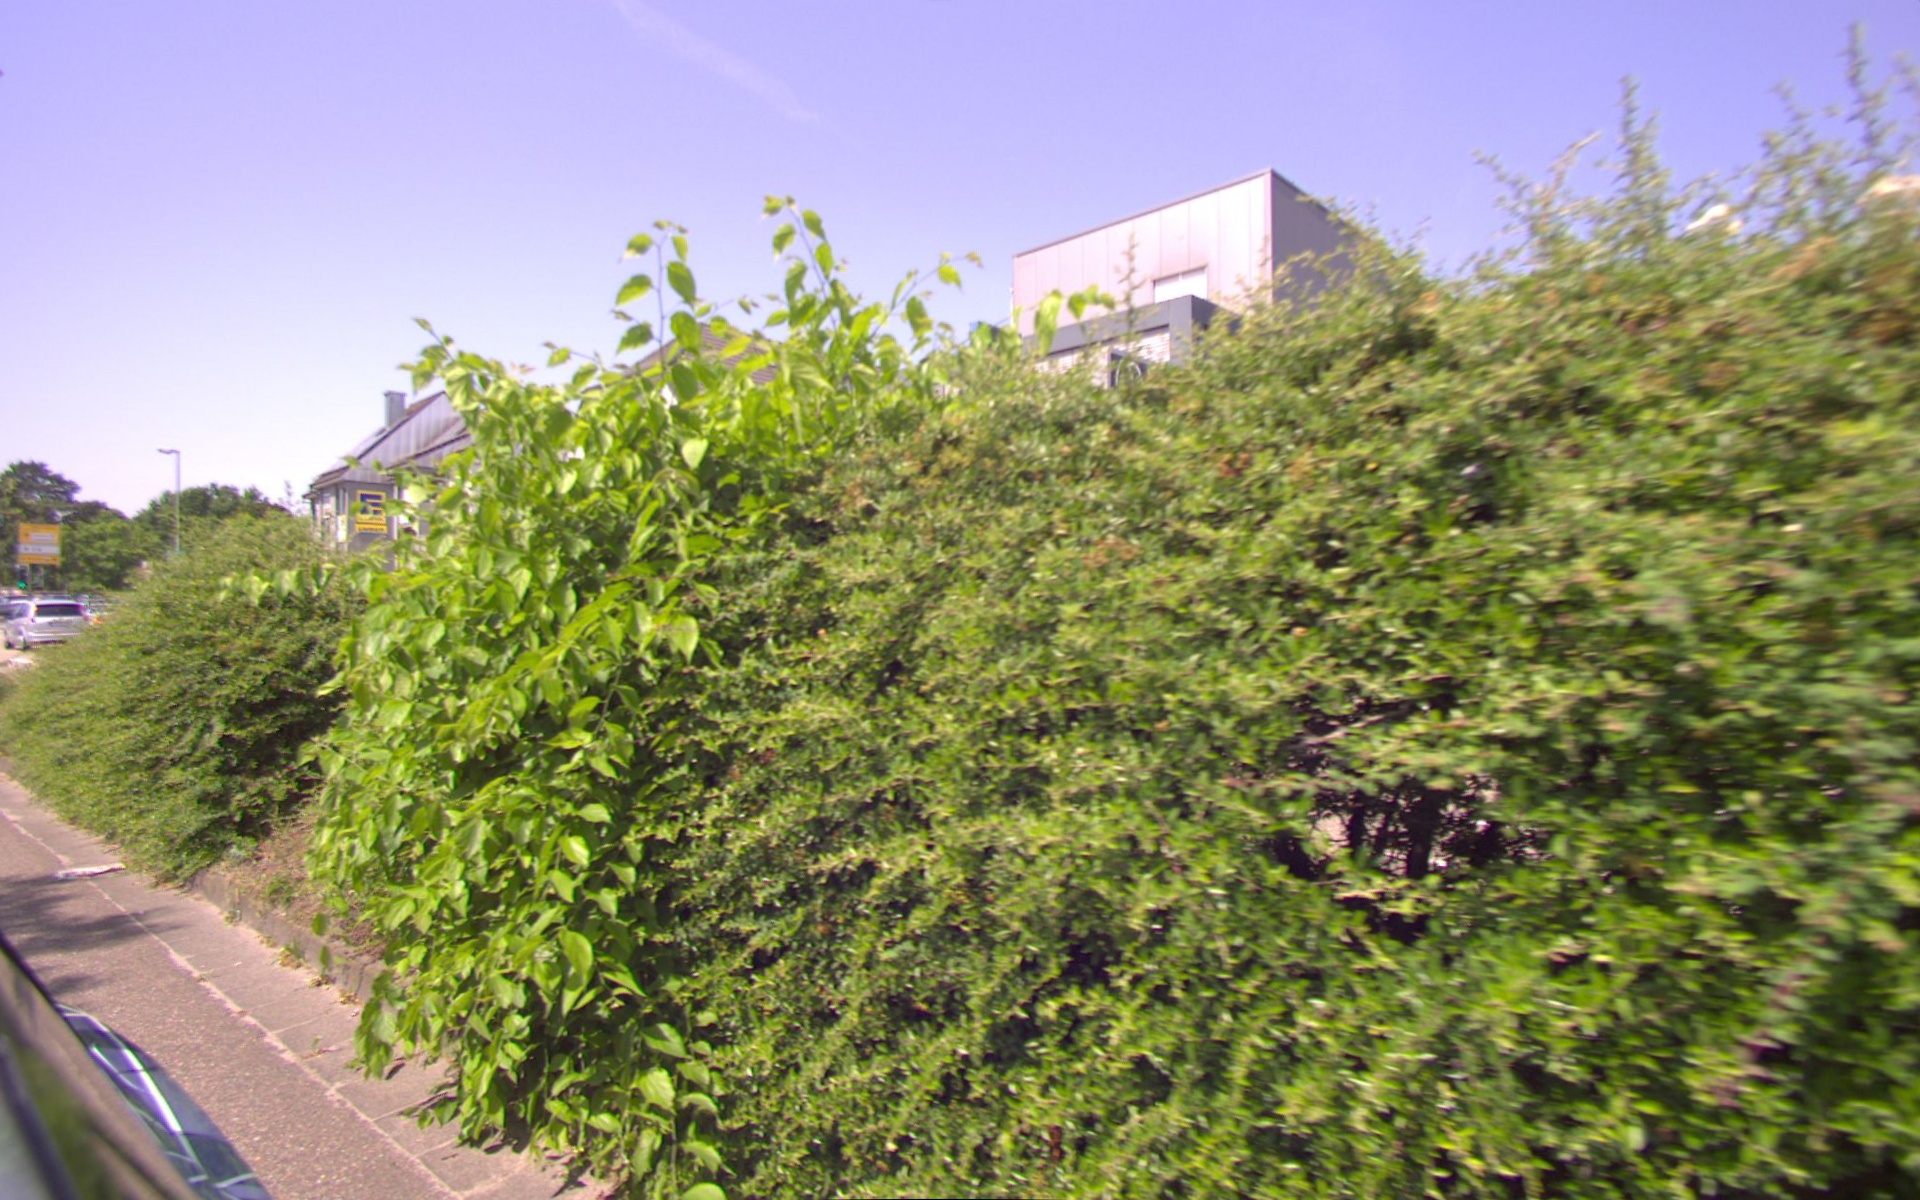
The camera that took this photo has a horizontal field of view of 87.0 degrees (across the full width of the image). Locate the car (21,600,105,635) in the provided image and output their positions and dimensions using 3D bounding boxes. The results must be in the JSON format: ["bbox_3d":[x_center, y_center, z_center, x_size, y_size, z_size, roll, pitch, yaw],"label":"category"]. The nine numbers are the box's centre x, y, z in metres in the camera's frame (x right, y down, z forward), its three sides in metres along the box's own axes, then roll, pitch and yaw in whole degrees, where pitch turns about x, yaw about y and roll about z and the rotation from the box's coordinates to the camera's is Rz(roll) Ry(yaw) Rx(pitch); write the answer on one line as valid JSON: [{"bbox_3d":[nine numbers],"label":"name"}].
[{"bbox_3d":[-40.027,0.767,45.143,4.346,1.364,1.790,0,4,35],"label":"car"}]

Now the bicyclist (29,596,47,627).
[{"bbox_3d":[-52.305,0.633,57.409,0.815,1.654,0.420,6,3,20],"label":"bicyclist"}]

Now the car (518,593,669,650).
[{"bbox_3d":[-12.177,0.668,33.933,1.748,1.507,4.569,-1,3,34],"label":"car"}]

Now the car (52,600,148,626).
[{"bbox_3d":[-58.816,0.843,69.279,1.755,1.622,4.716,0,1,29],"label":"car"}]

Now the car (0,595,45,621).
[{"bbox_3d":[-72.273,0.580,76.486,4.235,1.916,1.835,1,0,-30],"label":"car"}]

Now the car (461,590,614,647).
[{"bbox_3d":[-14.743,0.599,35.500,1.853,1.639,4.558,-1,3,41],"label":"car"}]

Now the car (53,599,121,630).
[{"bbox_3d":[-46.977,0.725,54.456,4.189,1.578,1.880,0,1,36],"label":"car"}]

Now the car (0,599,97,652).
[{"bbox_3d":[-29.947,0.854,33.148,4.334,1.641,1.763,-2,-2,39],"label":"car"}]

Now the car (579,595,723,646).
[{"bbox_3d":[-9.874,0.614,32.537,1.998,1.532,4.016,0,0,39],"label":"car"}]

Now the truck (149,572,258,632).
[{"bbox_3d":[-48.806,0.008,65.547,2.237,3.442,7.050,-1,3,-6],"label":"truck"}]
